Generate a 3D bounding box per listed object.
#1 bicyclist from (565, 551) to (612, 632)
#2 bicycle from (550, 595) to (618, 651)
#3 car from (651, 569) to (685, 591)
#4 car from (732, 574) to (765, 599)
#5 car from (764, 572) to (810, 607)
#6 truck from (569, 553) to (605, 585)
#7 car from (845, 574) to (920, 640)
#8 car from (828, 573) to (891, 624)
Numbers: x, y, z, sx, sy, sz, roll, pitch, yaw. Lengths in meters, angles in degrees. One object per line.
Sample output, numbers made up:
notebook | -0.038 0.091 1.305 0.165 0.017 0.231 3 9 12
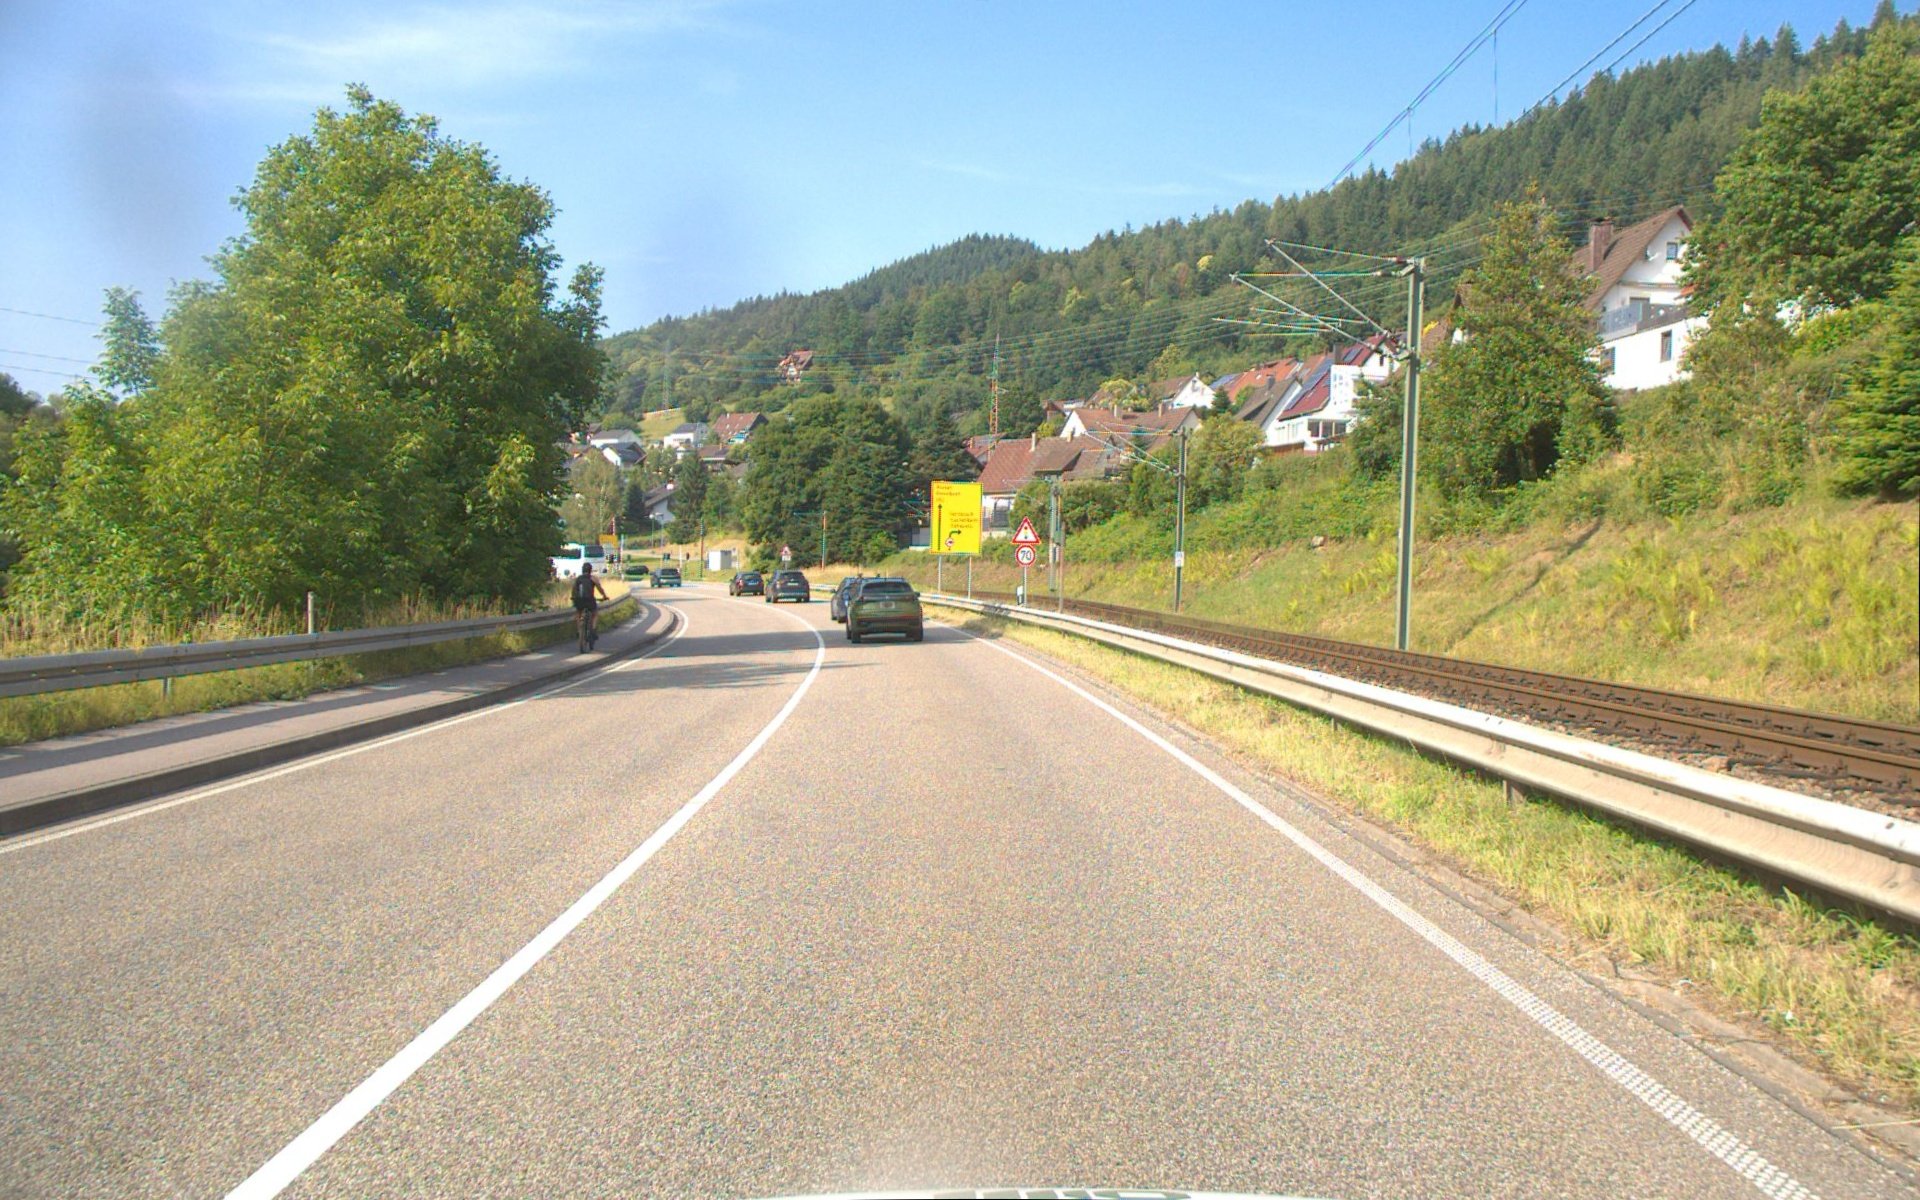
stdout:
bicyclist | -7.654 -0.187 34.083 0.545 1.614 1.036 3 1 7
bicycle | -7.721 0.461 34.091 0.545 1.063 2.231 3 1 8
car | -24.398 -1.665 138.288 2.034 1.843 3.974 -1 1 -22
car | -13.307 -0.861 103.934 1.816 1.553 3.651 0 1 -12
car | -8.813 -0.546 84.001 1.848 1.716 3.986 1 1 -13
truck | -37.683 -3.181 167.066 2.674 3.137 6.070 1 1 -22
car | -1.923 0.133 40.146 1.681 1.480 3.997 -2 1 -4
car | -3.334 -0.064 54.444 1.637 1.586 3.991 1 1 -10
